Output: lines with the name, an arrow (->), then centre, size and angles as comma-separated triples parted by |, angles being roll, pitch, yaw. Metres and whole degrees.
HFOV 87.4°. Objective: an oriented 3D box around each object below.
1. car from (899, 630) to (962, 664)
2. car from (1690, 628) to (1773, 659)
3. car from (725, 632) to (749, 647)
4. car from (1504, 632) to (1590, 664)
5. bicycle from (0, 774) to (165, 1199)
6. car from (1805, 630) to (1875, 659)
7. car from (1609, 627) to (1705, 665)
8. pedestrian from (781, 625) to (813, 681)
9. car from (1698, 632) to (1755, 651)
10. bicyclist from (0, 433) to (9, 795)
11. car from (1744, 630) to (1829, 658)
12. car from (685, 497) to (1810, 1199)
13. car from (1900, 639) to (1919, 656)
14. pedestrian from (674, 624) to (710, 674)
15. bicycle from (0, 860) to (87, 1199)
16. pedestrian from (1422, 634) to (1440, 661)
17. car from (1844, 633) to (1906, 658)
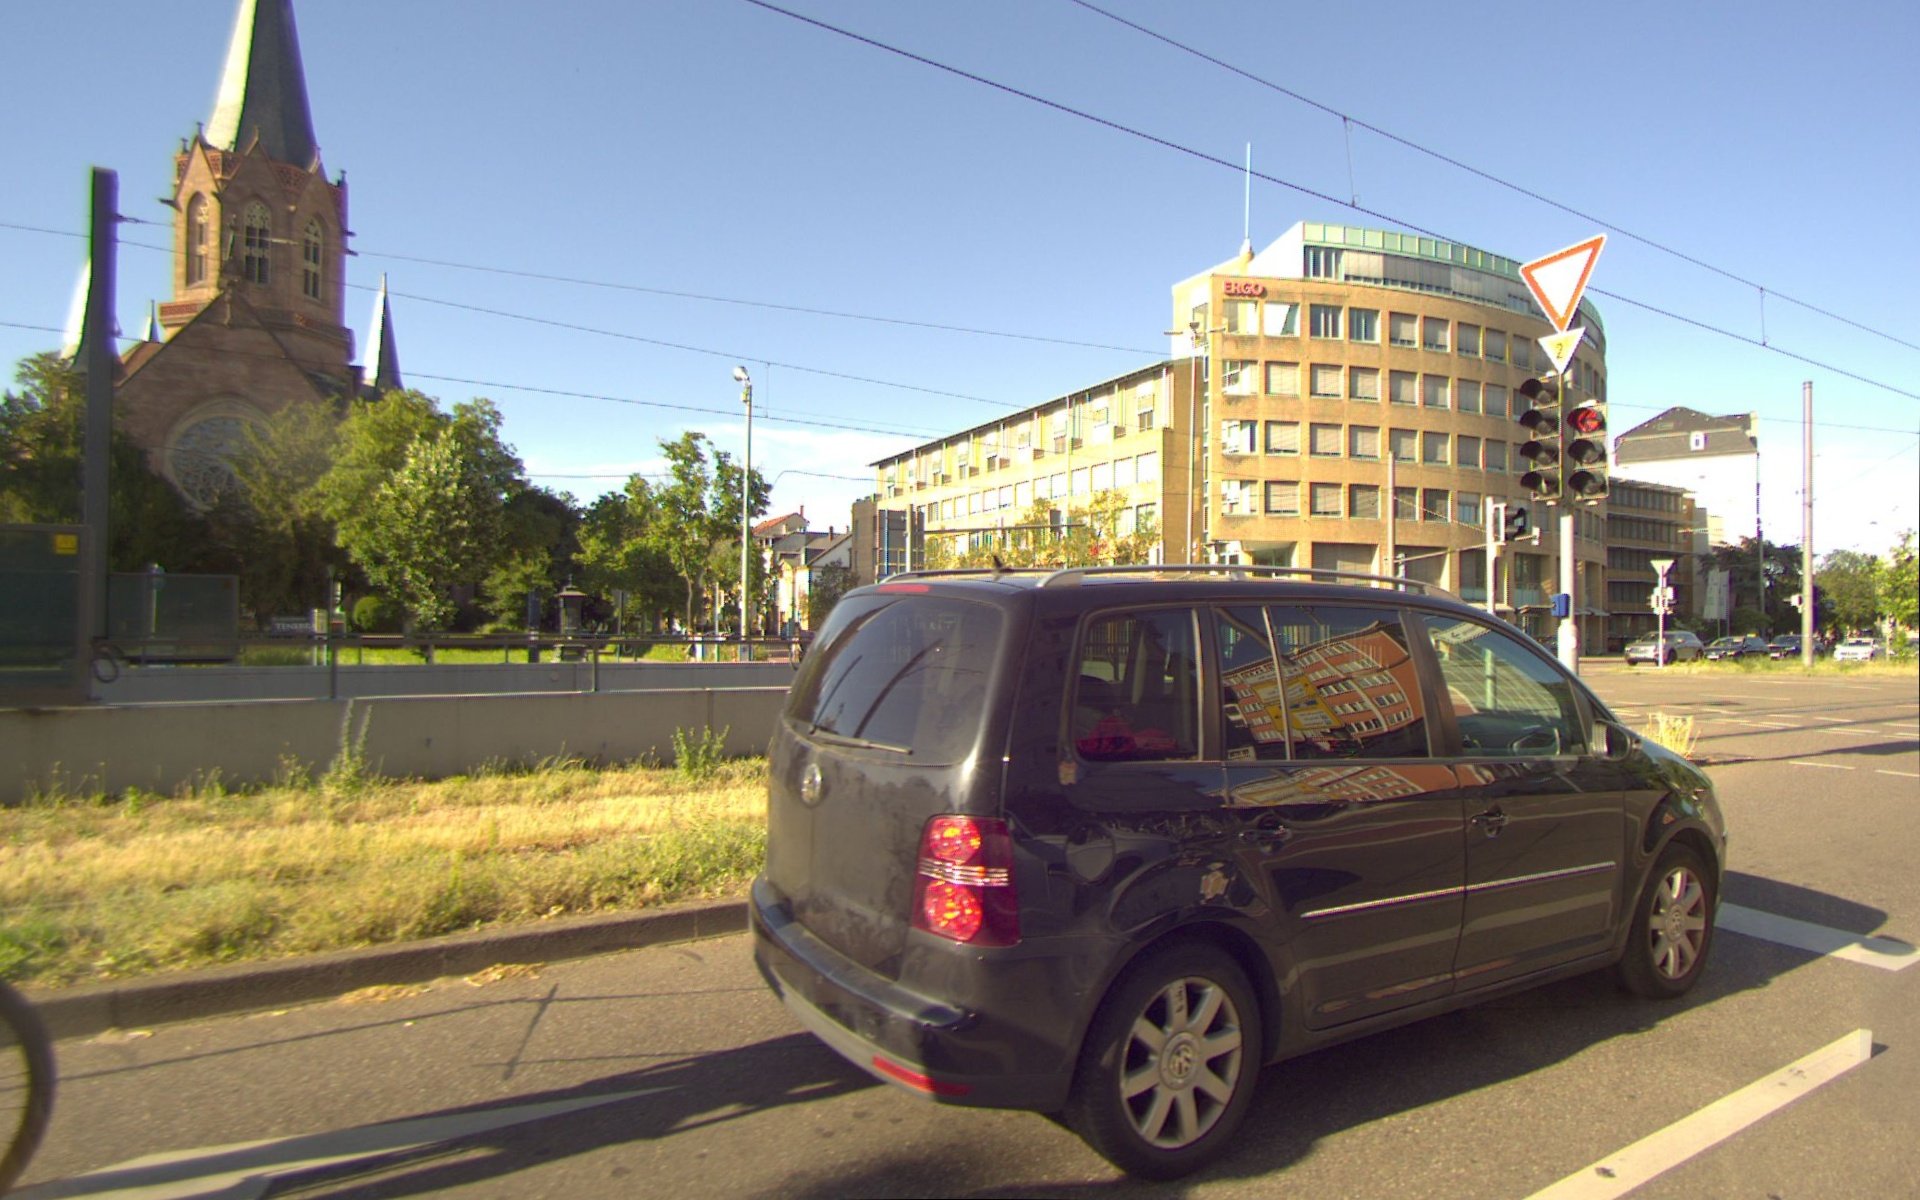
car -> -1.592, 2.436, 52.905 | 1.815, 1.595, 3.915 | 2, 0, -27
car -> 40.914, 2.302, 53.258 | 4.610, 1.537, 1.983 | 2, 0, -32
car -> -27.816, 4.930, 125.164 | 1.816, 1.595, 3.912 | 2, 0, -29
car -> 34.364, 2.808, 58.761 | 5.150, 1.690, 2.107 | 2, 0, -31
bicycle -> -2.772, 0.945, 1.987 | 1.794, 1.011, 0.535 | 2, 0, -30
car -> 53.876, 2.735, 61.472 | 4.604, 1.617, 1.983 | 2, 0, -32
car -> 34.499, 2.231, 49.669 | 5.029, 1.757, 2.089 | 1, -1, -32
pedestrian -> -6.135, 1.982, 37.858 | 0.914, 2.040, 0.872 | 2, 0, -29
car -> 70.685, 3.792, 92.655 | 3.929, 1.602, 1.996 | 2, 0, 31
bicyclist -> -2.676, 0.414, 2.038 | 0.909, 1.682, 0.689 | 2, 0, -30
car -> 47.398, 2.520, 57.590 | 4.956, 1.467, 1.986 | 2, 0, -28
car -> 1.302, 0.609, 4.099 | 4.305, 1.557, 1.984 | 2, 0, -30
car -> 98.072, 4.860, 102.718 | 4.241, 1.532, 1.981 | 5, -3, -35
pedestrian -> -10.347, 1.884, 38.833 | 1.103, 1.871, 0.837 | 2, 0, -32
bicycle -> -2.283, 0.992, 1.112 | 0.621, 0.952, 1.898 | 2, 0, 39
pedestrian -> 28.230, 2.854, 60.219 | 0.702, 1.552, 0.596 | 2, 0, -21
car -> 58.500, 2.888, 64.194 | 4.465, 1.446, 1.981 | 2, 0, -35
